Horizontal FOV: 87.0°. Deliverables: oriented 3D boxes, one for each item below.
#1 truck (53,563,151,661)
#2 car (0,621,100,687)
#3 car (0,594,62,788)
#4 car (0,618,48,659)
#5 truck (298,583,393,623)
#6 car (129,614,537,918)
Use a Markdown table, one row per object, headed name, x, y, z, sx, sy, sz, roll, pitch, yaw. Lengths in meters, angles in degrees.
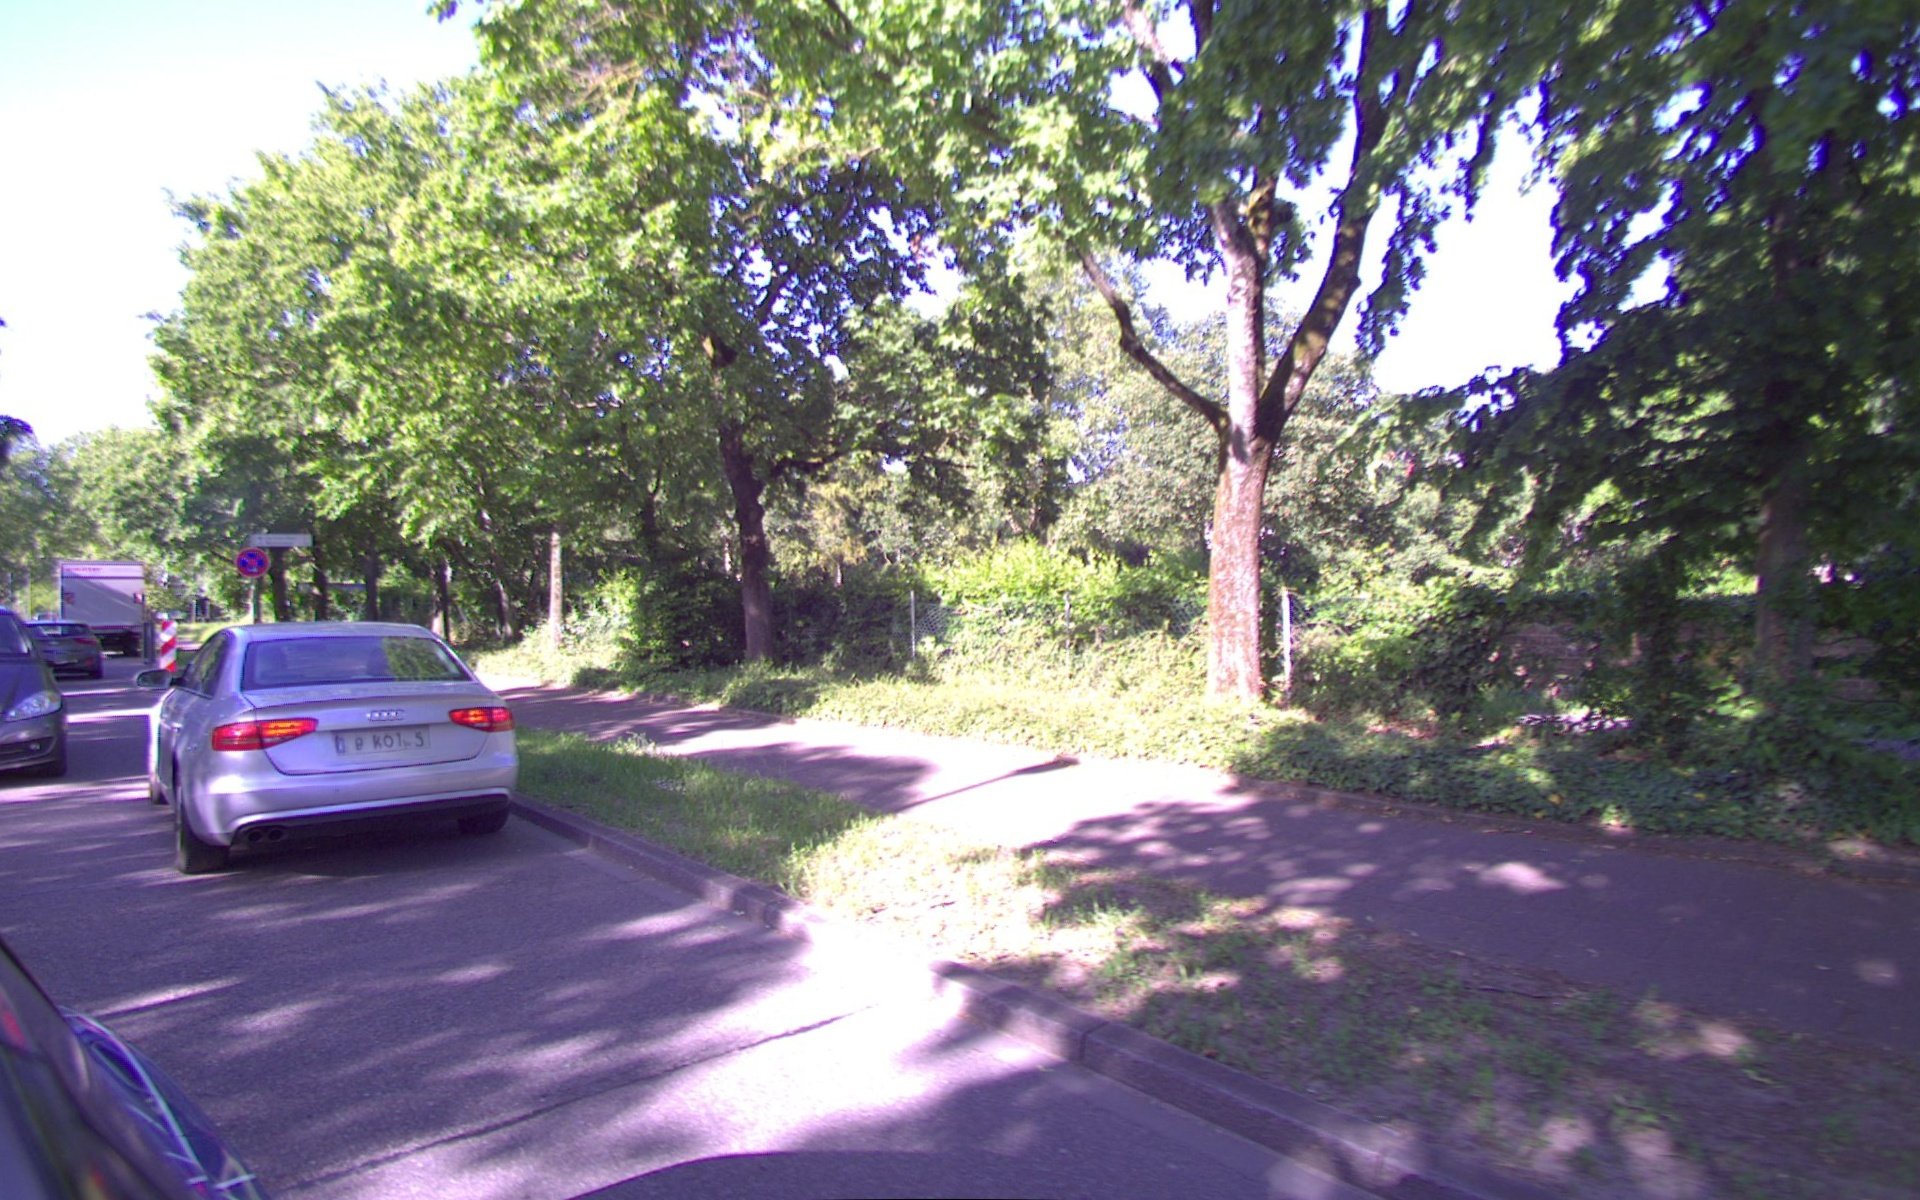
| name | x | y | z | sx | sy | sz | roll | pitch | yaw |
| --- | --- | --- | --- | --- | --- | --- | --- | --- | --- |
| truck | -35.235 | 0.491 | 41.454 | 2.702 | 3.669 | 8.110 | -1 | 0 | -43 |
| car | -22.144 | 1.244 | 24.530 | 1.735 | 1.465 | 4.246 | 1 | -2 | -44 |
| car | -9.698 | 0.805 | 9.452 | 1.710 | 1.599 | 4.002 | -1 | 0 | -45 |
| car | -34.235 | 1.368 | 36.736 | 1.582 | 1.437 | 3.655 | 1 | -2 | -43 |
| truck | -32.667 | 0.167 | 53.830 | 3.941 | 2.029 | 2.206 | 1 | -2 | -44 |
| car | -4.482 | 0.833 | 6.916 | 1.764 | 1.427 | 4.110 | 1 | -2 | -41 |
